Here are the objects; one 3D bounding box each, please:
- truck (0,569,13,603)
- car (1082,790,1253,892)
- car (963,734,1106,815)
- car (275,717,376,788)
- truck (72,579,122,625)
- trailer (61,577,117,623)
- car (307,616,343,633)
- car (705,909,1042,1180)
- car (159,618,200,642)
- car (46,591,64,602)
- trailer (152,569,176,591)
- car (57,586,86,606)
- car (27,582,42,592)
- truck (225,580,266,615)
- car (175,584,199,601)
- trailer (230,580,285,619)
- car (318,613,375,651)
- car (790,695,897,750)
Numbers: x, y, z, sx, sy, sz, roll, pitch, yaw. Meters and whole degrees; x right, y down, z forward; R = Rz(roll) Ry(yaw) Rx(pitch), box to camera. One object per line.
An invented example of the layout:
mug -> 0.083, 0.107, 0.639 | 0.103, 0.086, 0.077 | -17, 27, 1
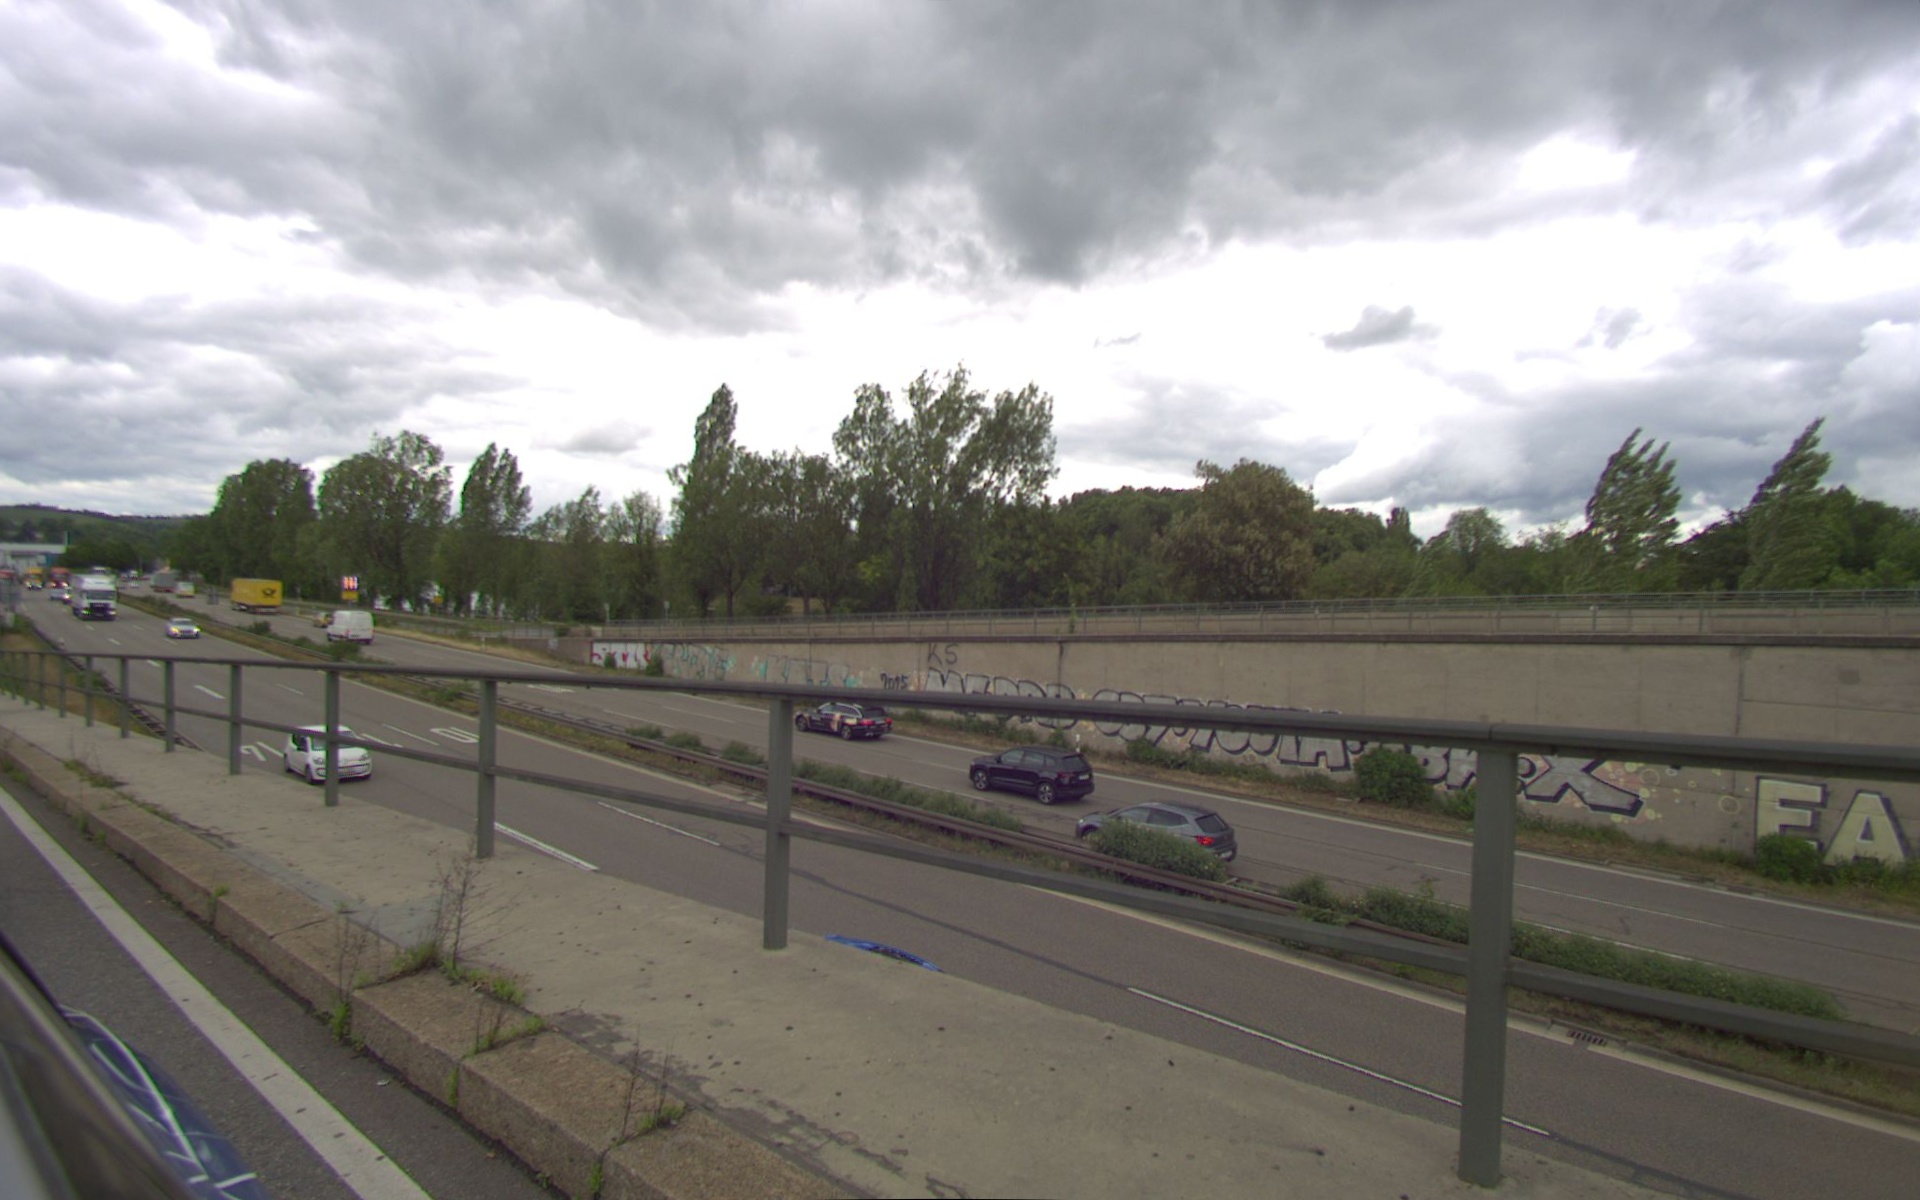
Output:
truck -> -126.086, -1.909, 132.247 | 3.059, 4.040, 8.497 | 1, 2, -45
car -> 4.966, 5.727, 24.435 | 3.650, 1.464, 1.696 | 2, 1, 42
car -> 2.289, 5.404, 31.808 | 4.181, 1.731, 1.862 | 2, 0, 41
car -> -19.162, 4.535, 30.517 | 3.337, 1.539, 1.745 | 2, 0, 43
truck -> -82.892, 0.129, 97.149 | 5.876, 4.140, 2.969 | 2, 0, 44
trailer -> -88.068, -0.093, 102.206 | 13.995, 4.140, 2.969 | 2, 0, 44
car -> -62.188, 2.345, 99.126 | 4.152, 1.468, 1.848 | 2, 0, 41
car -> -1.188, 5.327, 12.761 | 3.999, 1.544, 1.973 | 2, -1, 41
car -> -61.797, 2.327, 80.138 | 4.439, 1.582, 1.830 | 3, 2, 43
car -> -123.812, -0.451, 138.453 | 3.538, 1.383, 1.492 | 3, 0, 43
trailer -> -161.930, -4.148, 205.872 | 2.753, 4.170, 13.781 | 1, 1, -42
car -> -113.261, -0.475, 128.969 | 6.502, 2.259, 2.076 | 3, 0, 43
car -> -171.157, -2.421, 187.085 | 4.002, 1.679, 1.786 | 3, 1, 44
truck -> -90.069, -0.363, 127.559 | 3.203, 4.213, 5.808 | 2, 0, -45
car -> -130.948, -1.231, 171.450 | 6.715, 2.648, 1.972 | 2, -1, 43
trailer -> -85.335, -0.152, 122.713 | 3.203, 4.294, 13.691 | 2, 0, -44
car -> -48.865, 2.502, 80.585 | 6.101, 2.613, 2.144 | 2, 0, 42
car -> -4.953, 5.108, 42.737 | 4.632, 1.664, 1.840 | 2, 0, 41
